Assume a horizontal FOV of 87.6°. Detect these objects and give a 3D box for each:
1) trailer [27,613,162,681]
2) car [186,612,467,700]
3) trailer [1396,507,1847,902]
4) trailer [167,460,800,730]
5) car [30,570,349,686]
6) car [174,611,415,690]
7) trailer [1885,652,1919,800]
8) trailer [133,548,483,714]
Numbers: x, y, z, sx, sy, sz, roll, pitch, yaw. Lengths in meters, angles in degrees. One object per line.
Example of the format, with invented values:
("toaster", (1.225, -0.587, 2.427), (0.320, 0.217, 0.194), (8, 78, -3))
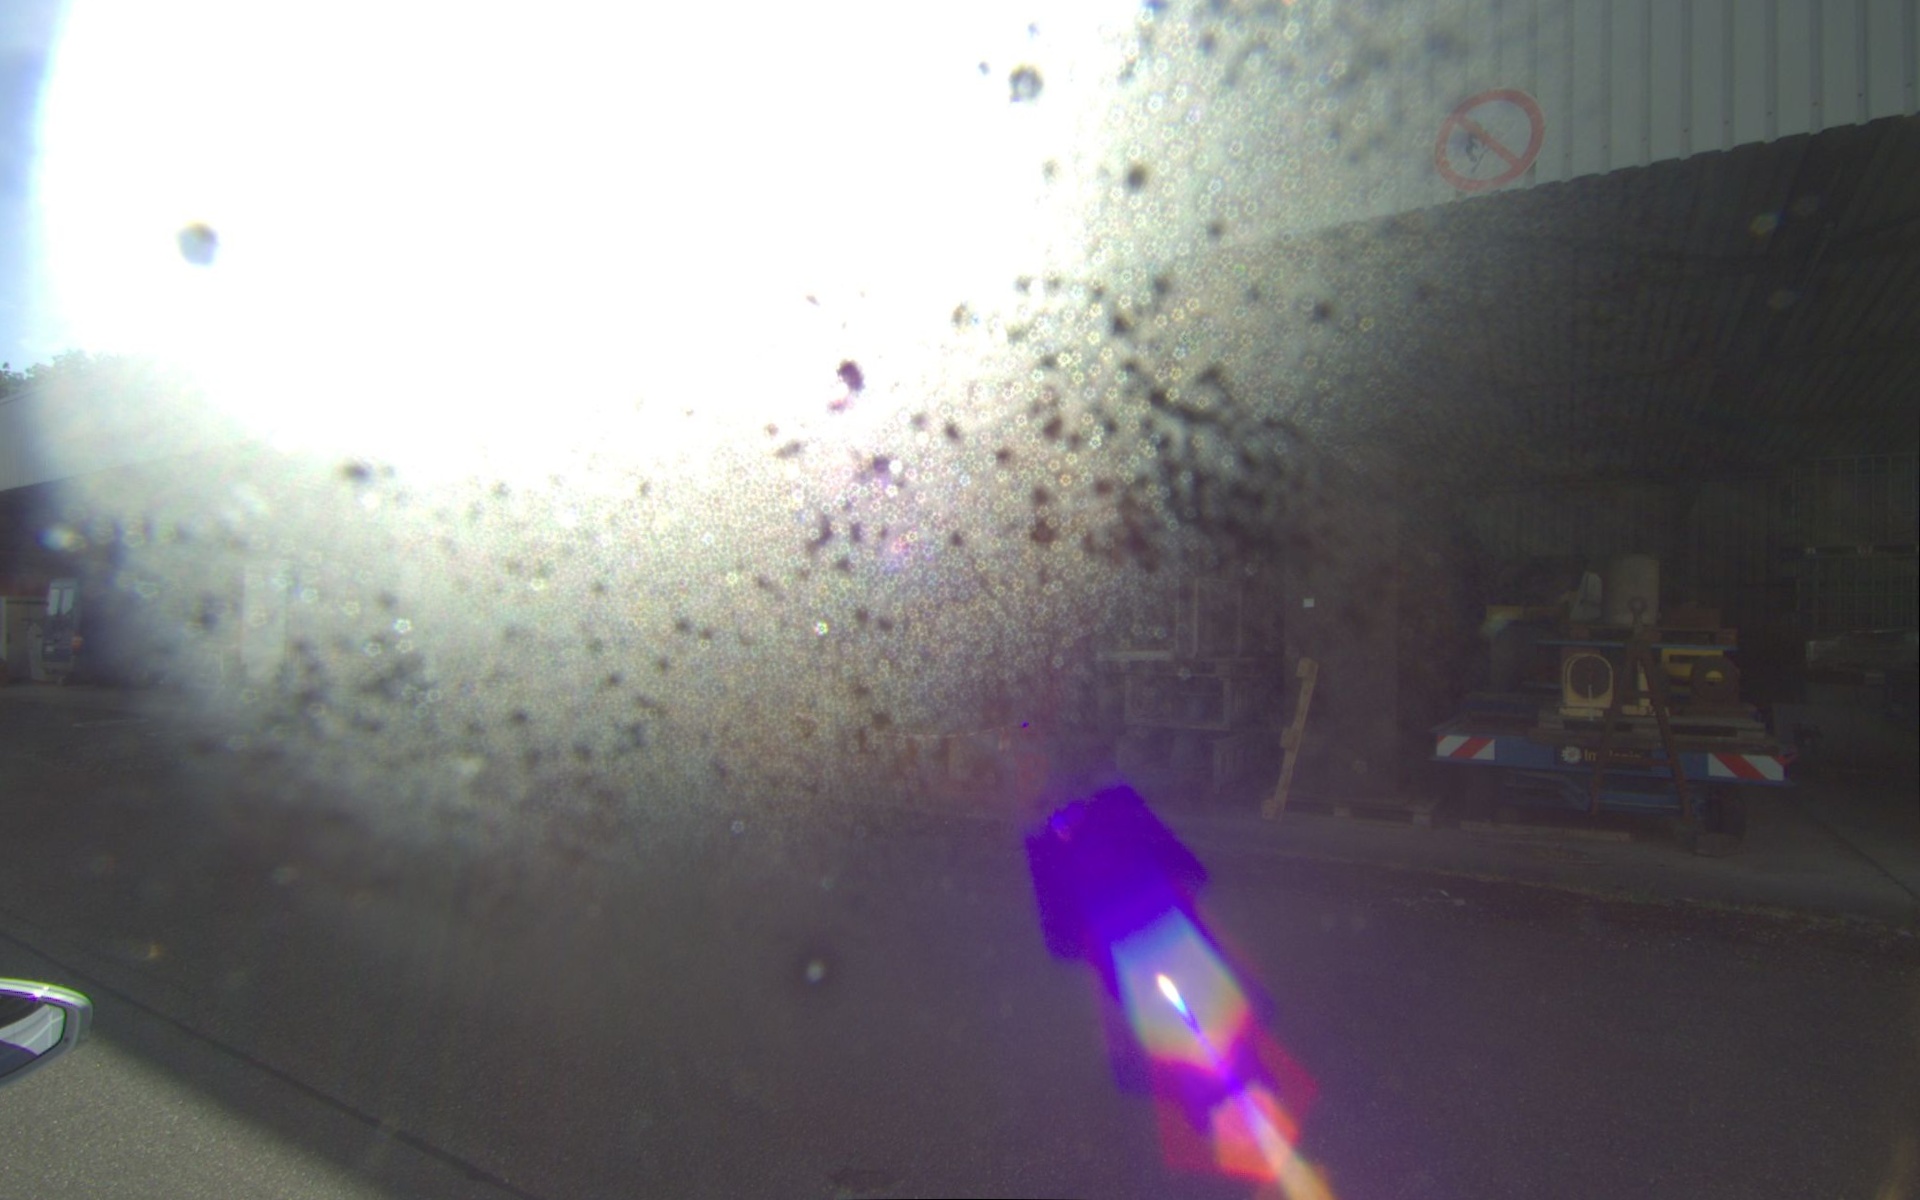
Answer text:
("trailer", (-19.984, 1.045, 23.148), (1.715, 1.485, 2.032), (0, -1, 36))
("car", (-12.061, 1.029, 19.380), (1.841, 1.490, 4.246), (0, -2, 29))
("trailer", (4.833, 0.589, 7.556), (2.133, 2.016, 4.413), (-1, -1, 33))
("trailer", (-7.265, 0.038, 17.665), (2.761, 3.386, 10.250), (0, -1, 32))
("car", (-17.214, 0.661, 22.736), (2.121, 2.310, 5.326), (-1, -2, 31))
("car", (-14.232, 1.062, 21.655), (1.812, 1.533, 3.962), (-1, -2, 29))
("trailer", (7.829, 1.005, 6.149), (1.945, 1.200, 5.721), (-1, -1, 30))
("trailer", (-10.696, 0.505, 16.784), (2.018, 2.372, 4.507), (-1, -1, 33))
